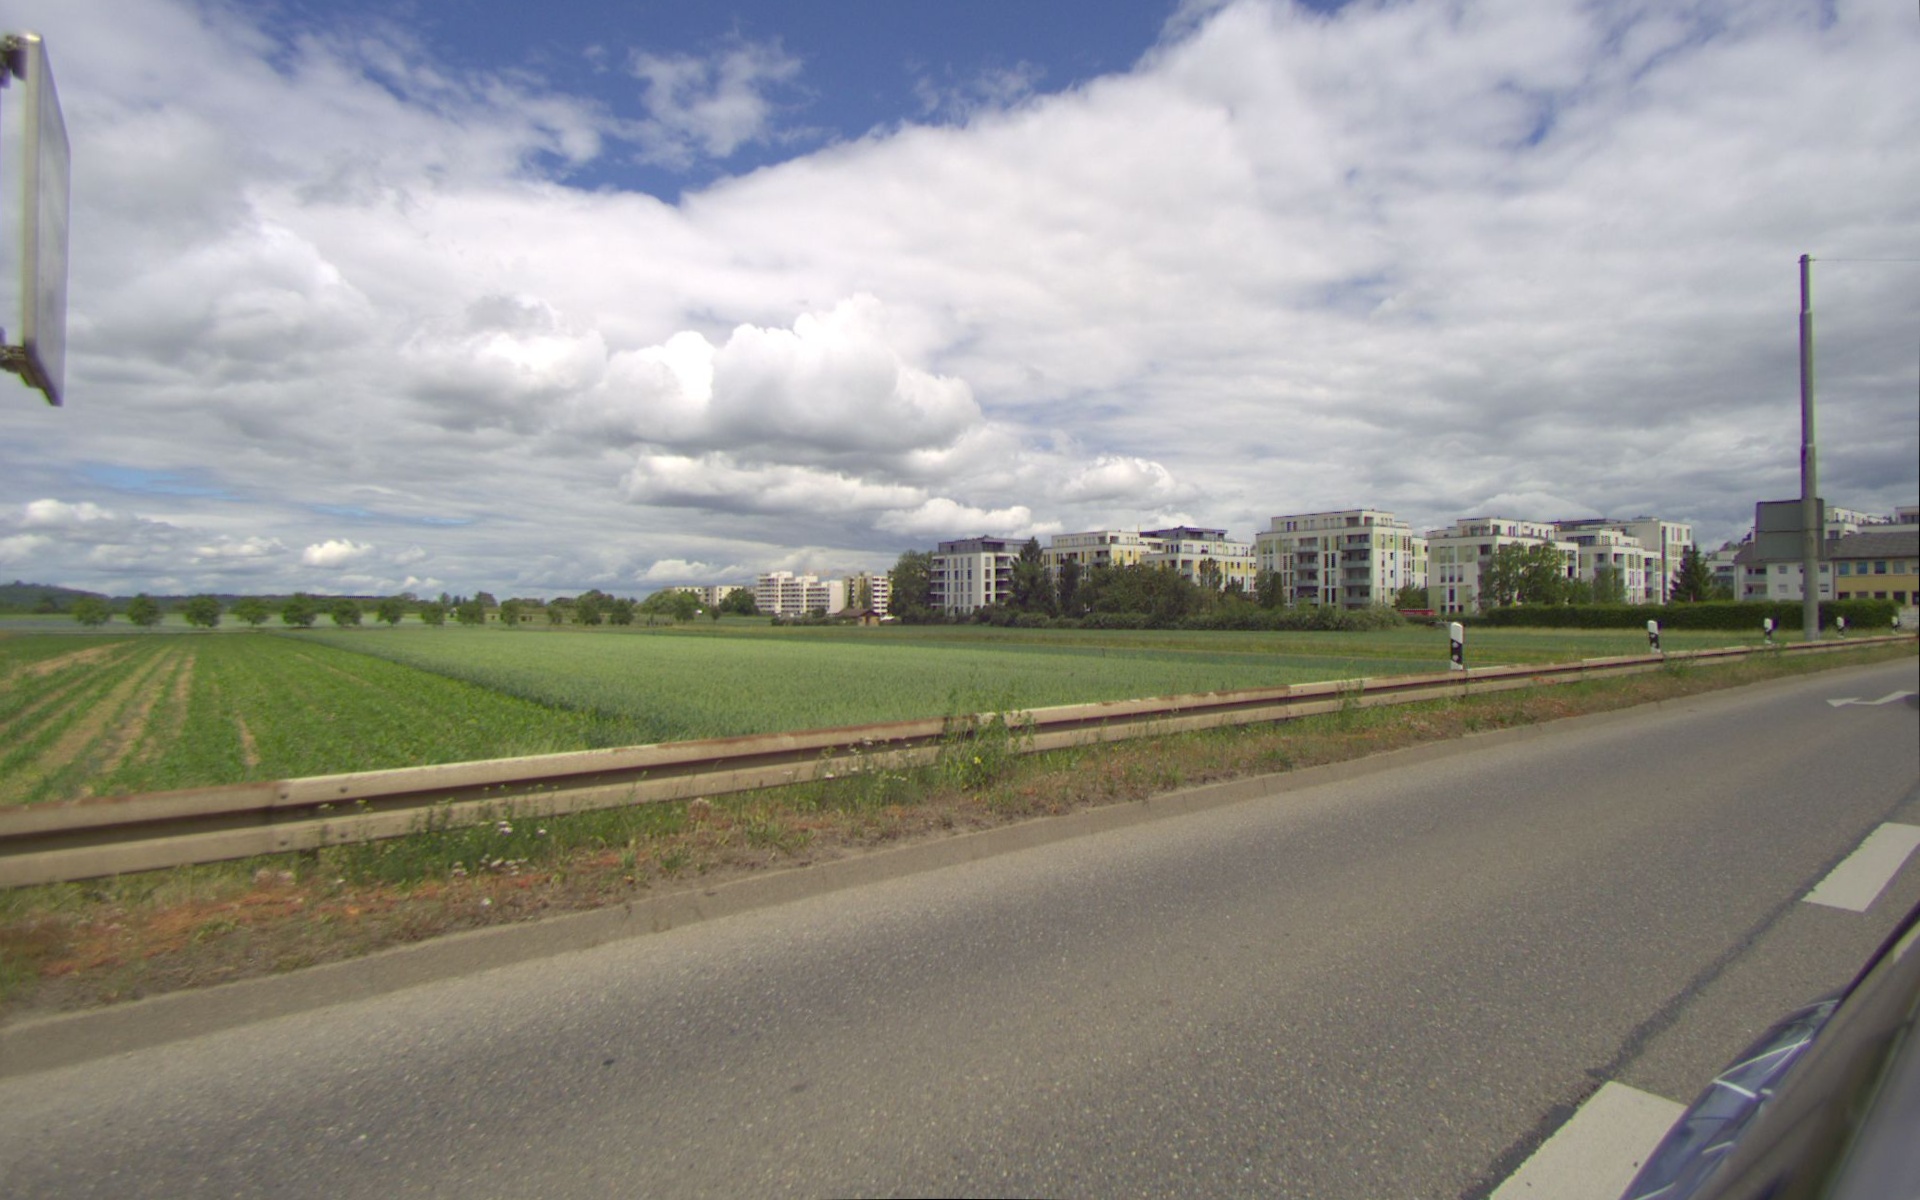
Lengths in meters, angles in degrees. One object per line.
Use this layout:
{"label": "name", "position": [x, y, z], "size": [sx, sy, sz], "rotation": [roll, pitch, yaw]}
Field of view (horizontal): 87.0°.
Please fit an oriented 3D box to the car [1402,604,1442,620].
{"label": "car", "position": [61.998, 1.634, 135.919], "size": [1.965, 2.039, 4.434], "rotation": [0, 0, -40]}
